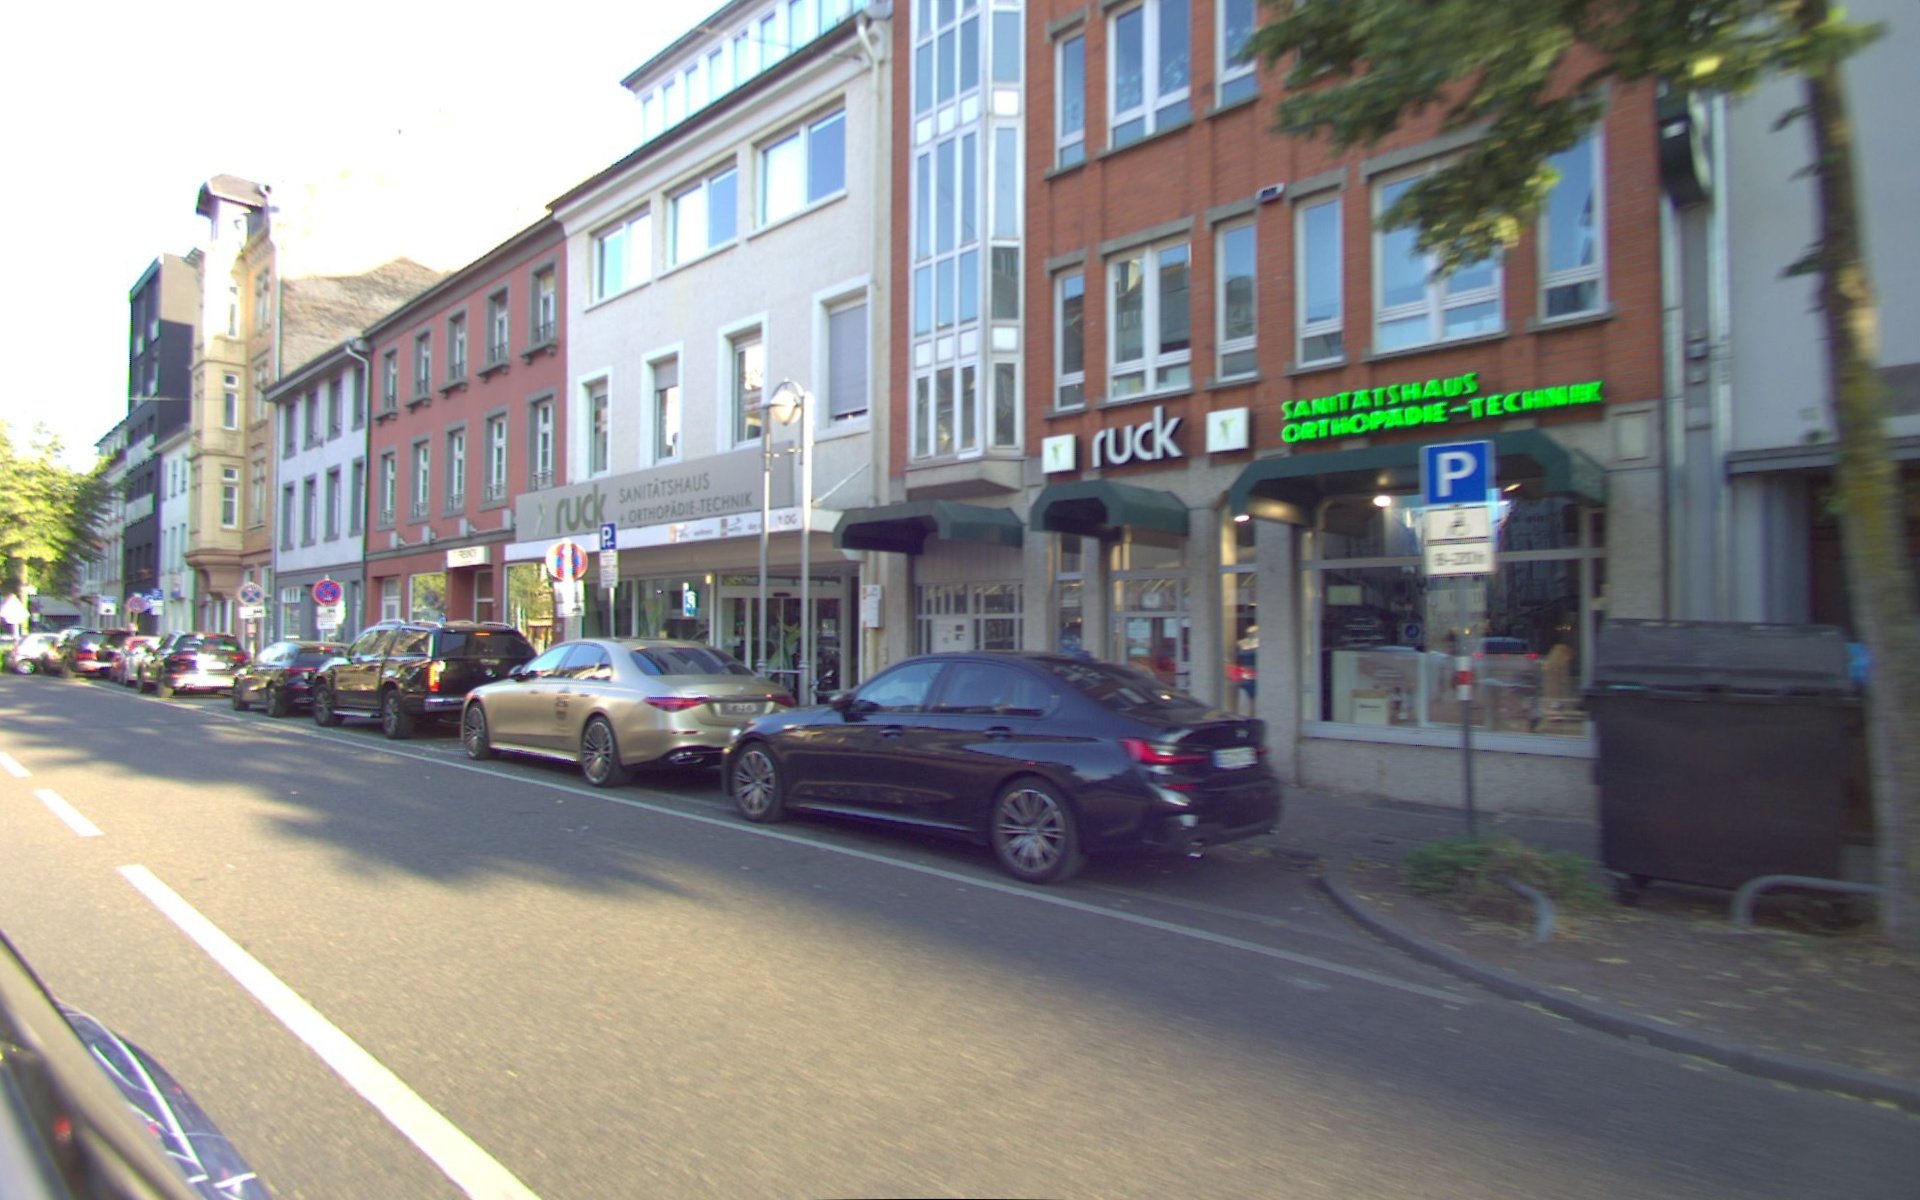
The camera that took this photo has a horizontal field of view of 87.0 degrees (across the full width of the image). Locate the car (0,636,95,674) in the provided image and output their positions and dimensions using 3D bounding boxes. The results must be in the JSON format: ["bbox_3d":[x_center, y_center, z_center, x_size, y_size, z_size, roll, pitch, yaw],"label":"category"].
[{"bbox_3d":[-40.375,2.366,43.967,1.956,1.594,3.863,-2,-4,37],"label":"car"}]

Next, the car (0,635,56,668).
[{"bbox_3d":[-50.112,2.686,52.804,1.994,1.689,4.080,-2,-4,38],"label":"car"}]

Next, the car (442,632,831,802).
[{"bbox_3d":[-3.879,1.161,11.552,5.113,1.522,1.972,-2,-4,43],"label":"car"}]

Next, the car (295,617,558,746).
[{"bbox_3d":[-8.850,1.244,16.557,5.296,1.783,1.973,-2,-4,41],"label":"car"}]

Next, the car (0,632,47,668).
[{"bbox_3d":[-53.865,2.770,56.320,2.053,1.998,4.141,-2,-4,37],"label":"car"}]

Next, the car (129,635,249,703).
[{"bbox_3d":[-20.031,1.740,26.232,4.217,1.626,1.747,-2,-4,43],"label":"car"}]

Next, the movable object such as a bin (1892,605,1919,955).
[{"bbox_3d":[5.548,0.876,4.881,1.439,1.685,1.268,-2,0,40],"label":"movable object such as a bin"}]

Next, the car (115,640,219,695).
[{"bbox_3d":[-23.090,1.917,29.426,3.867,1.475,1.747,-2,-4,43],"label":"car"}]

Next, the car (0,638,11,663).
[{"bbox_3d":[-63.227,3.176,63.998,2.044,1.640,4.159,-1,-3,24],"label":"car"}]

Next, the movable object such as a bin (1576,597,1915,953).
[{"bbox_3d":[4.457,0.857,5.810,1.368,1.685,1.267,-2,0,40],"label":"movable object such as a bin"}]

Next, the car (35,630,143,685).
[{"bbox_3d":[-30.007,1.946,34.840,4.213,1.766,2.029,-2,-4,39],"label":"car"}]

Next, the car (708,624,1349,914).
[{"bbox_3d":[0.253,0.993,7.623,4.637,1.522,1.894,-2,-4,42],"label":"car"}]

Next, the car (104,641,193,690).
[{"bbox_3d":[-25.892,2.044,32.264,3.542,1.475,1.666,-2,-4,43],"label":"car"}]

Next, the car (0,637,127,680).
[{"bbox_3d":[-34.800,2.228,38.708,2.053,1.594,4.141,-2,-4,37],"label":"car"}]

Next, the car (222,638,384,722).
[{"bbox_3d":[-13.391,1.555,20.532,4.217,1.522,1.747,-2,-4,43],"label":"car"}]
